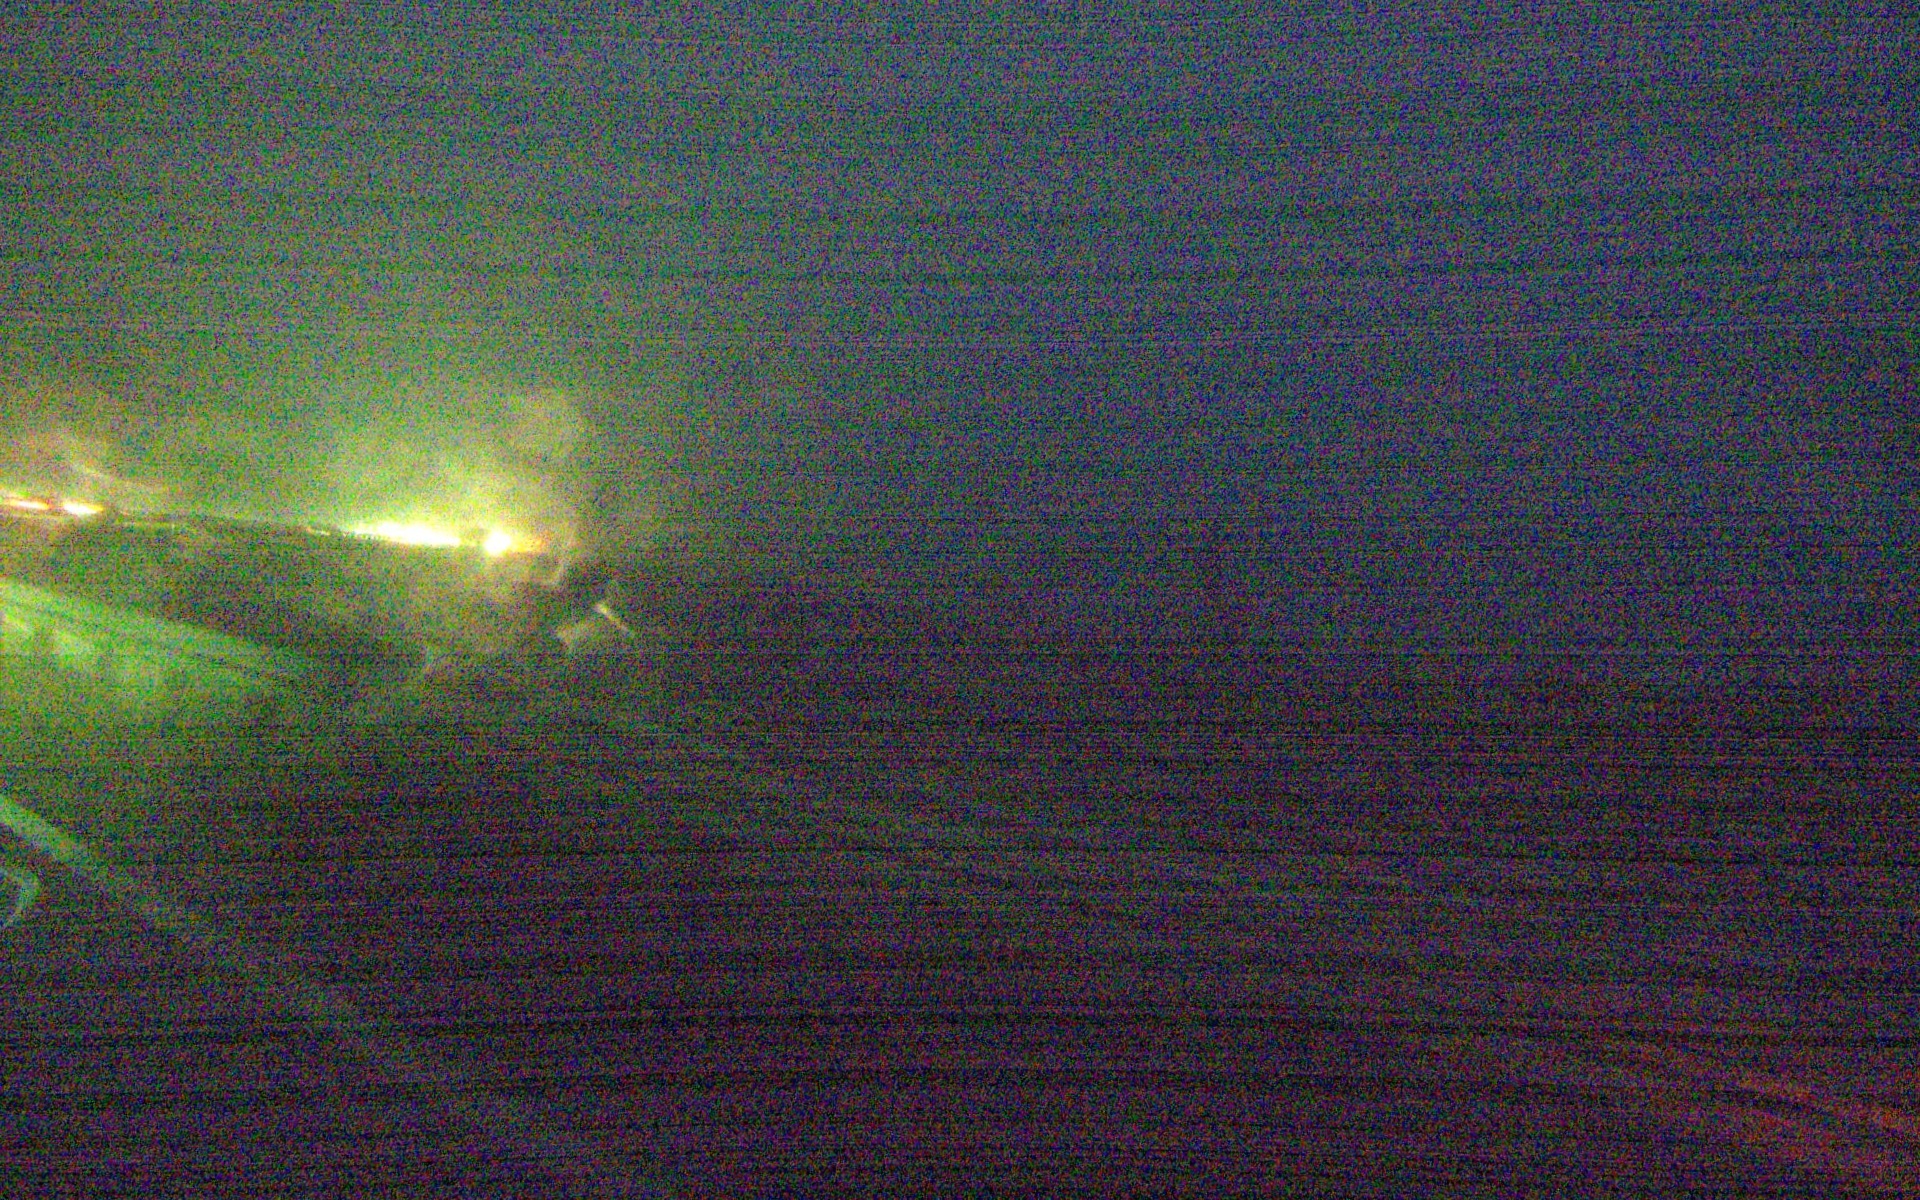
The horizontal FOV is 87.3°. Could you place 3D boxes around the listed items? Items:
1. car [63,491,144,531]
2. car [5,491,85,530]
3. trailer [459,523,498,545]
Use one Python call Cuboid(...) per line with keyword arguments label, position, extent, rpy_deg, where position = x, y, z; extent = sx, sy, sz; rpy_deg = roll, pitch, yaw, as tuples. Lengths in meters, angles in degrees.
Cuboid(label="car", position=(-51.956, -5.366, 61.126), extent=(1.969, 1.840, 3.989), rpy_deg=(8, 0, -13))
Cuboid(label="car", position=(-60.653, -5.888, 66.759), extent=(1.968, 2.038, 3.990), rpy_deg=(8, 0, -12))
Cuboid(label="trailer", position=(-78.727, -10.677, 164.693), extent=(2.653, 2.732, 12.823), rpy_deg=(8, 0, -12))
